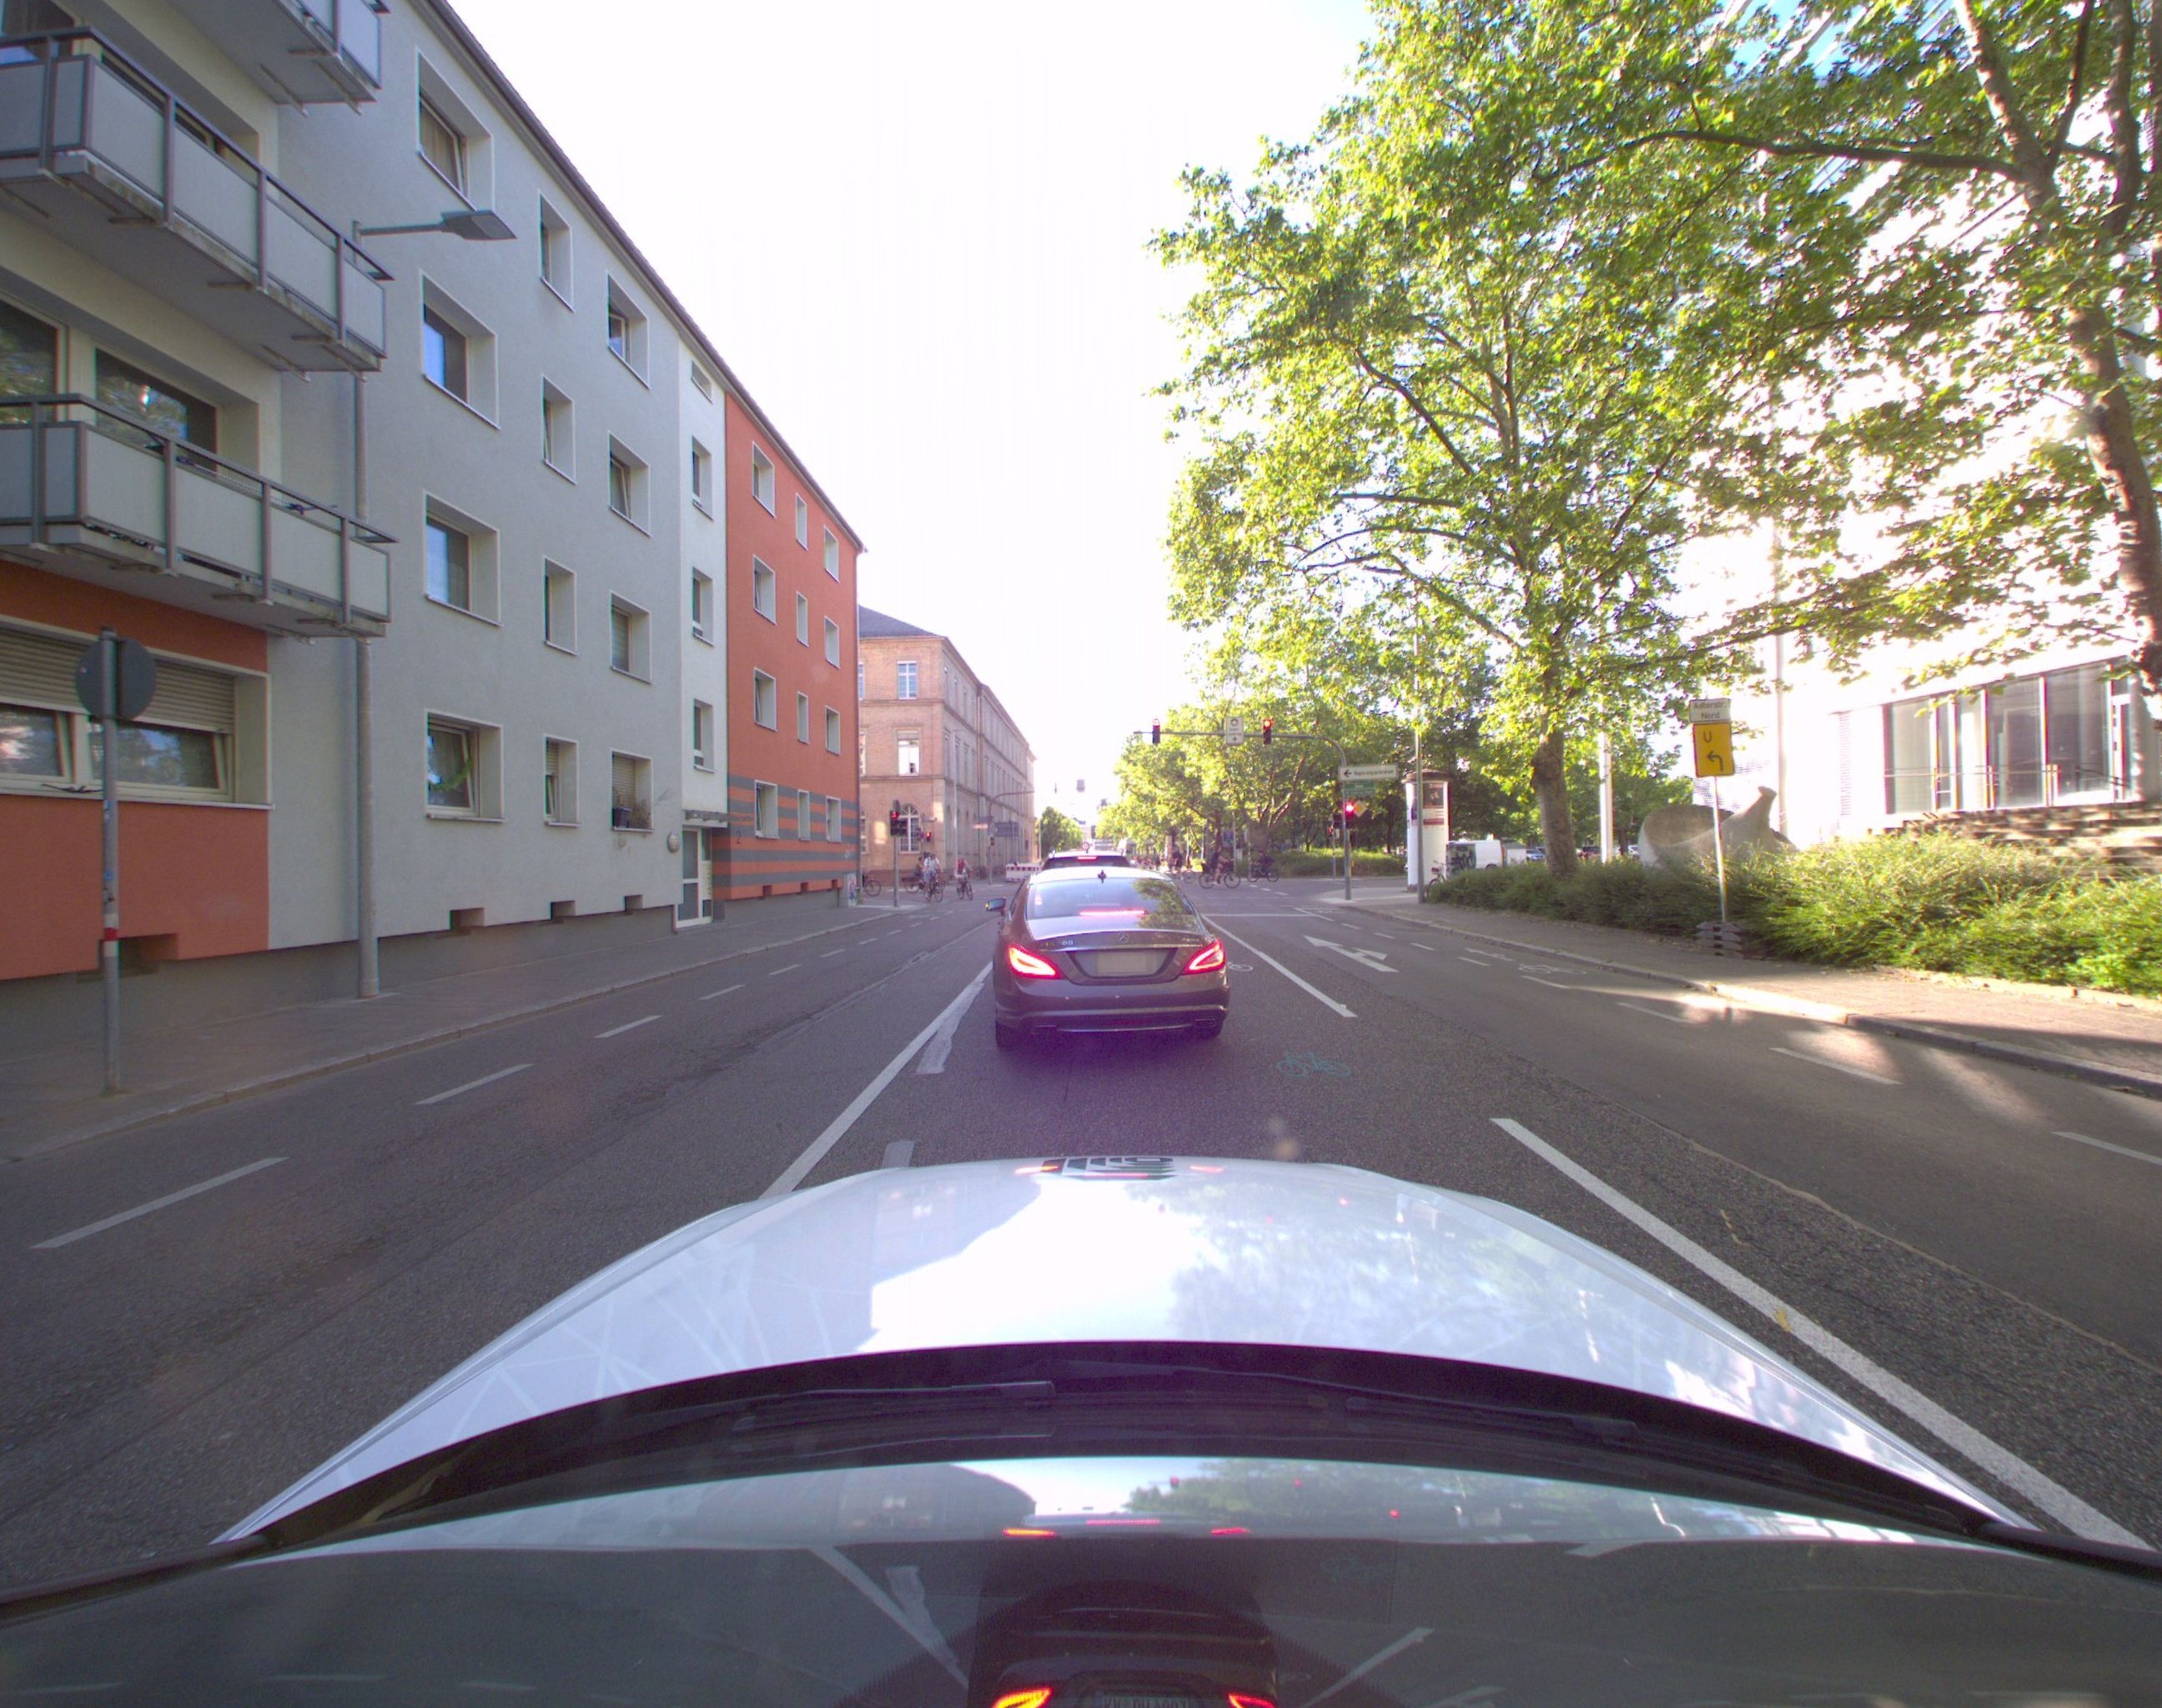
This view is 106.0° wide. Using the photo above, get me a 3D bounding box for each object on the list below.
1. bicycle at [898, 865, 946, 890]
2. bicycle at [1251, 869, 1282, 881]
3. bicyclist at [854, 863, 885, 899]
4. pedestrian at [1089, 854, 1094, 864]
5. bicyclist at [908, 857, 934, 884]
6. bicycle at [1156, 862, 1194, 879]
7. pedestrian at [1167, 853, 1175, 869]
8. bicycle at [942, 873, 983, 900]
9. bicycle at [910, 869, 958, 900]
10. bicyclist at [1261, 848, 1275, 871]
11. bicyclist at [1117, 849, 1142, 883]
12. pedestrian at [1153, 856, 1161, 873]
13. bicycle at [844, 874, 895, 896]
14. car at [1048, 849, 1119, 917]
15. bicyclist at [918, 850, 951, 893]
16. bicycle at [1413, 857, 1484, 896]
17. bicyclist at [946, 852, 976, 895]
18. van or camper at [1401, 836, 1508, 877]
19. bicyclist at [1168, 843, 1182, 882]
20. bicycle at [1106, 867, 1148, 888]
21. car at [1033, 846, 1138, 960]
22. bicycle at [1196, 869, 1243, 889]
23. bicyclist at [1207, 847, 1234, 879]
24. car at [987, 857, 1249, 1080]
[{"bbox_3d":[-7.056,1.046,36.190,1.972,1.027,0.652,-1,0,2],"label":"bicycle"},{"bbox_3d":[10.002,1.142,43.984,1.579,0.635,0.496,-1,0,5],"label":"bicycle"},{"bbox_3d":[-9.130,1.148,35.158,1.113,1.490,0.712,-1,0,1],"label":"bicyclist"},{"bbox_3d":[1.769,0.834,136.415,0.799,1.576,0.845,-1,0,1],"label":"pedestrian"},{"bbox_3d":[-7.115,0.741,36.168,0.987,1.154,0.621,-1,0,4],"label":"bicyclist"},{"bbox_3d":[4.934,0.843,42.671,1.889,0.837,0.457,-1,0,-6],"label":"bicycle"},{"bbox_3d":[8.114,0.659,73.303,0.646,1.433,0.659,-1,0,1],"label":"pedestrian"},{"bbox_3d":[-4.486,1.216,30.758,0.699,0.929,1.842,-1,0,-38],"label":"bicycle"},{"bbox_3d":[-5.421,1.115,29.966,0.870,1.079,1.814,-1,0,-43],"label":"bicycle"},{"bbox_3d":[10.099,0.292,44.020,0.701,1.260,0.458,-1,0,5],"label":"bicyclist"},{"bbox_3d":[2.230,0.538,37.436,1.069,1.519,0.718,-1,0,6],"label":"bicyclist"},{"bbox_3d":[6.882,0.980,73.635,0.646,1.503,0.637,-1,0,1],"label":"pedestrian"},{"bbox_3d":[-9.126,1.342,35.160,1.979,0.903,0.734,-1,0,1],"label":"bicycle"},{"bbox_3d":[0.128,0.769,23.379,1.813,1.762,4.002,-1,0,2],"label":"car"},{"bbox_3d":[-5.400,0.632,29.952,0.850,1.555,0.829,-1,0,-43],"label":"bicyclist"},{"bbox_3d":[10.622,0.656,23.588,1.796,1.097,0.510,-1,0,4],"label":"bicycle"},{"bbox_3d":[-4.551,0.735,30.841,0.690,1.578,0.970,-1,0,-39],"label":"bicyclist"},{"bbox_3d":[19.074,0.134,41.702,4.559,1.941,2.002,-1,0,3],"label":"van or camper"},{"bbox_3d":[4.920,0.432,42.676,0.651,2.013,0.439,-1,0,-6],"label":"bicyclist"},{"bbox_3d":[2.113,1.072,37.434,1.884,0.882,0.726,-1,0,5],"label":"bicycle"},{"bbox_3d":[0.061,0.711,13.794,1.513,1.647,3.879,-1,0,0],"label":"car"},{"bbox_3d":[6.063,1.085,35.691,1.966,0.836,0.677,-1,0,3],"label":"bicycle"},{"bbox_3d":[6.110,0.394,35.693,1.098,1.403,0.658,-1,0,4],"label":"bicyclist"},{"bbox_3d":[0.077,0.786,7.782,1.801,1.456,4.342,-1,0,-5],"label":"car"}]
